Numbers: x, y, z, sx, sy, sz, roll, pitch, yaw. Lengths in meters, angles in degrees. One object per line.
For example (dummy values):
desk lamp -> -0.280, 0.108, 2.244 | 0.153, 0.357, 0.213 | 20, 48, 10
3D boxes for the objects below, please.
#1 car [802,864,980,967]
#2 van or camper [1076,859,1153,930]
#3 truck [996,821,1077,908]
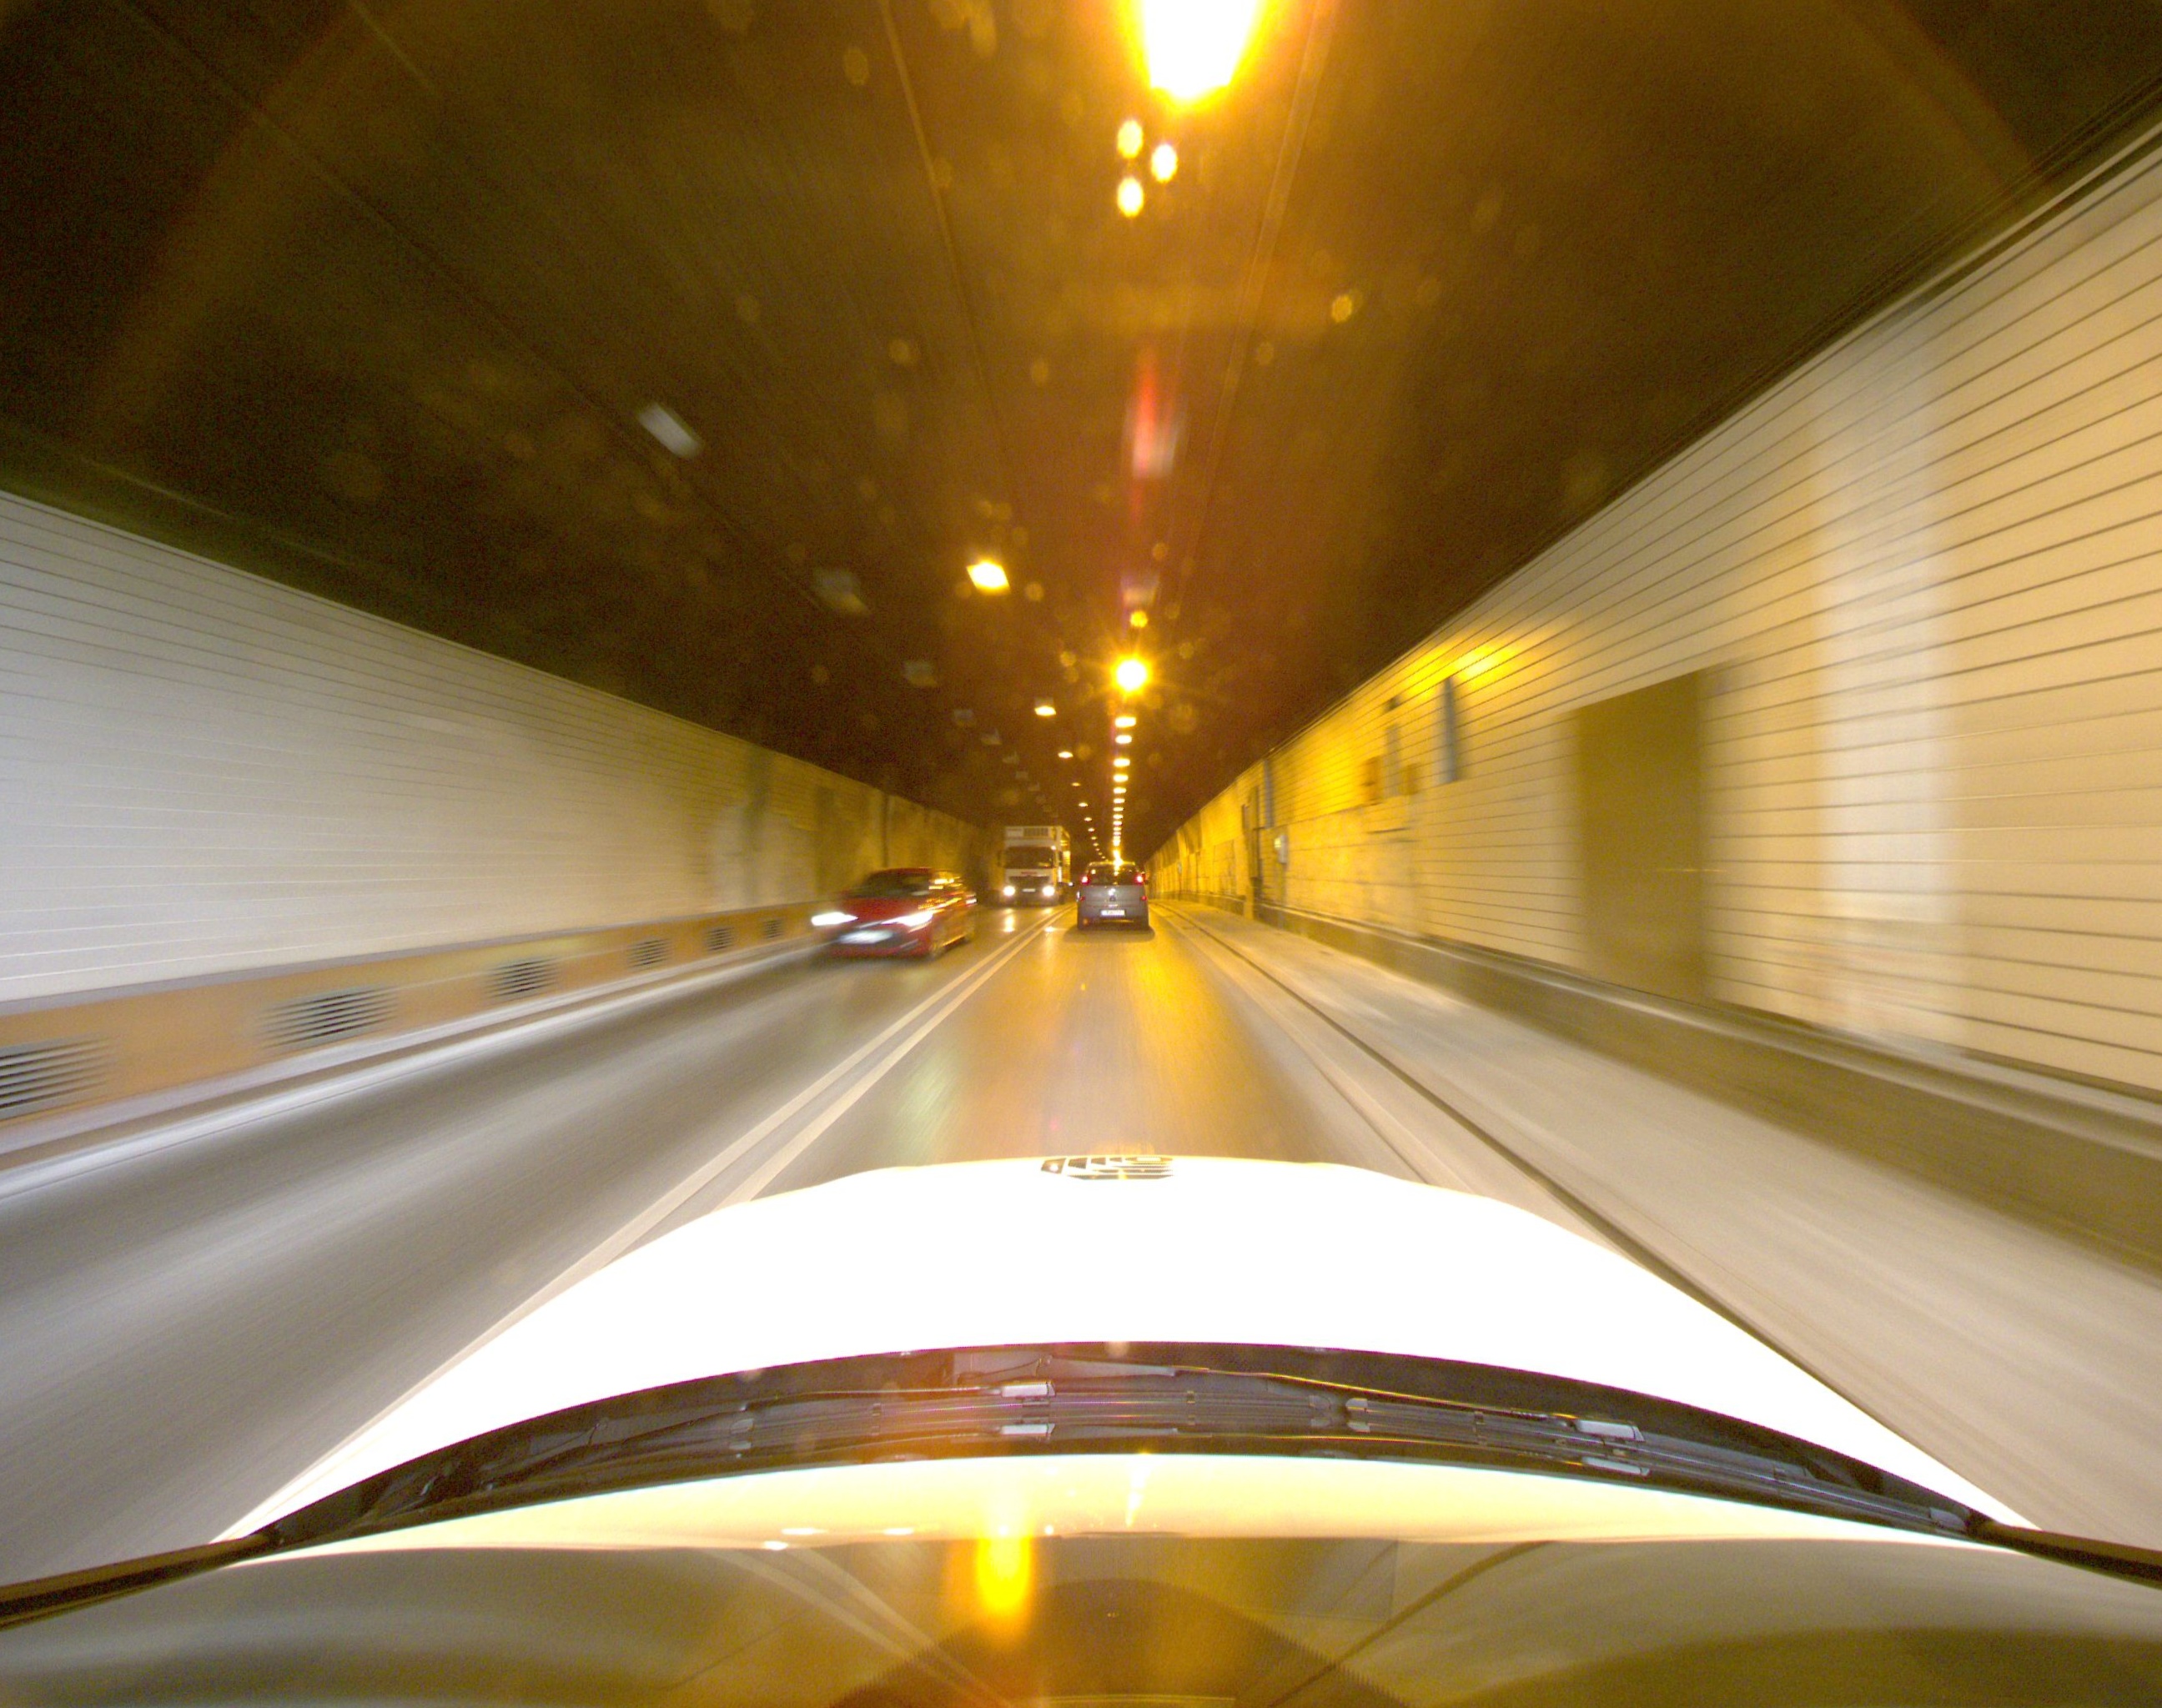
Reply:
car -> -3.009, 0.929, 13.847 | 1.886, 1.469, 4.162 | -1, -1, 2
van or camper -> 0.786, 0.953, 20.287 | 1.729, 1.578, 3.646 | 0, -1, 1
truck -> -1.959, 0.601, 39.112 | 2.800, 3.716, 7.553 | -1, -2, 4
